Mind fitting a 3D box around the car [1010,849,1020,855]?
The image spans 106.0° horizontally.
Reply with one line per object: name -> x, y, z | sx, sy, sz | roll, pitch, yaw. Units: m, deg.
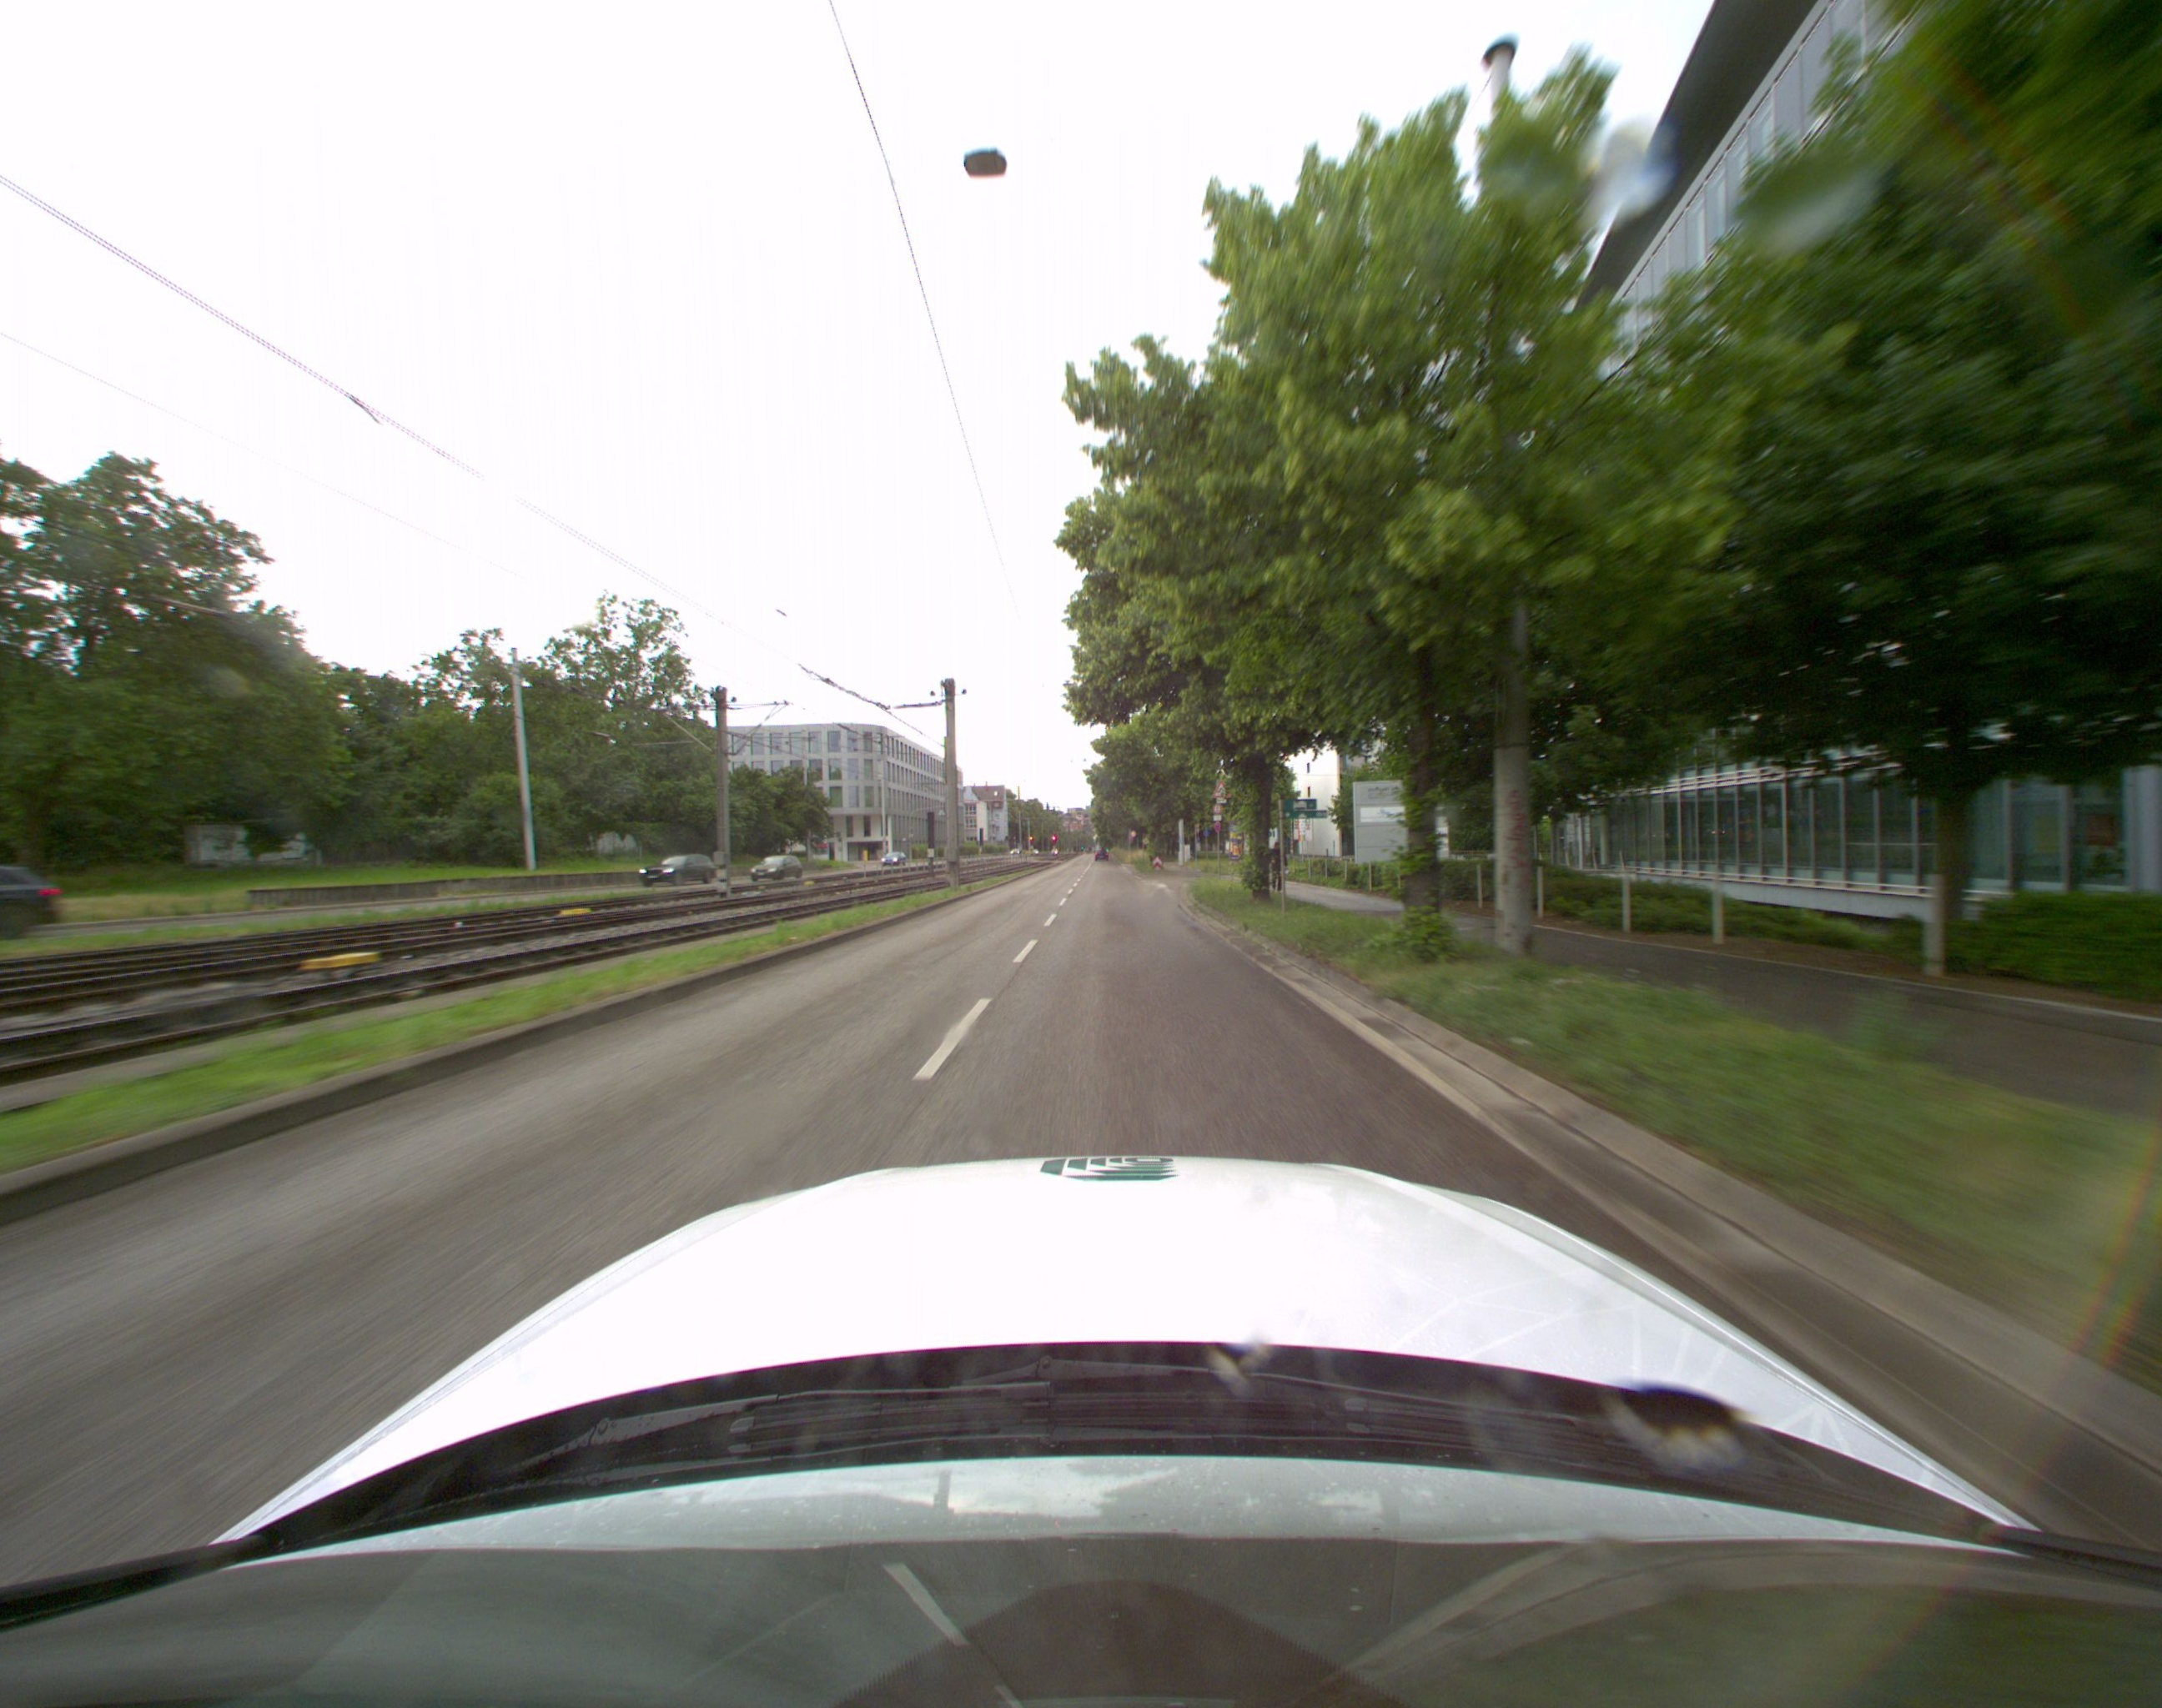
car -> -14.161, -0.513, 174.967 | 1.750, 1.244, 3.989 | -1, 0, 2

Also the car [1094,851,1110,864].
car -> 2.619, 0.443, 100.766 | 1.975, 1.440, 4.476 | -1, 0, 2

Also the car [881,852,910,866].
car -> -18.915, 0.509, 83.045 | 1.753, 1.397, 3.905 | -1, 0, 4

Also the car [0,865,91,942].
car -> -24.094, 1.100, 16.252 | 2.079, 1.589, 5.167 | -1, 0, 6

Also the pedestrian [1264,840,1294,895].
pedestrian -> 6.560, 0.429, 27.021 | 0.822, 1.797, 0.868 | 0, 0, 2

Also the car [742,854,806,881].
car -> -18.217, 0.774, 48.546 | 1.882, 1.486, 4.313 | -1, 0, 4

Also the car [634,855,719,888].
car -> -21.578, 0.880, 43.693 | 1.940, 1.595, 4.851 | -1, 0, 3
